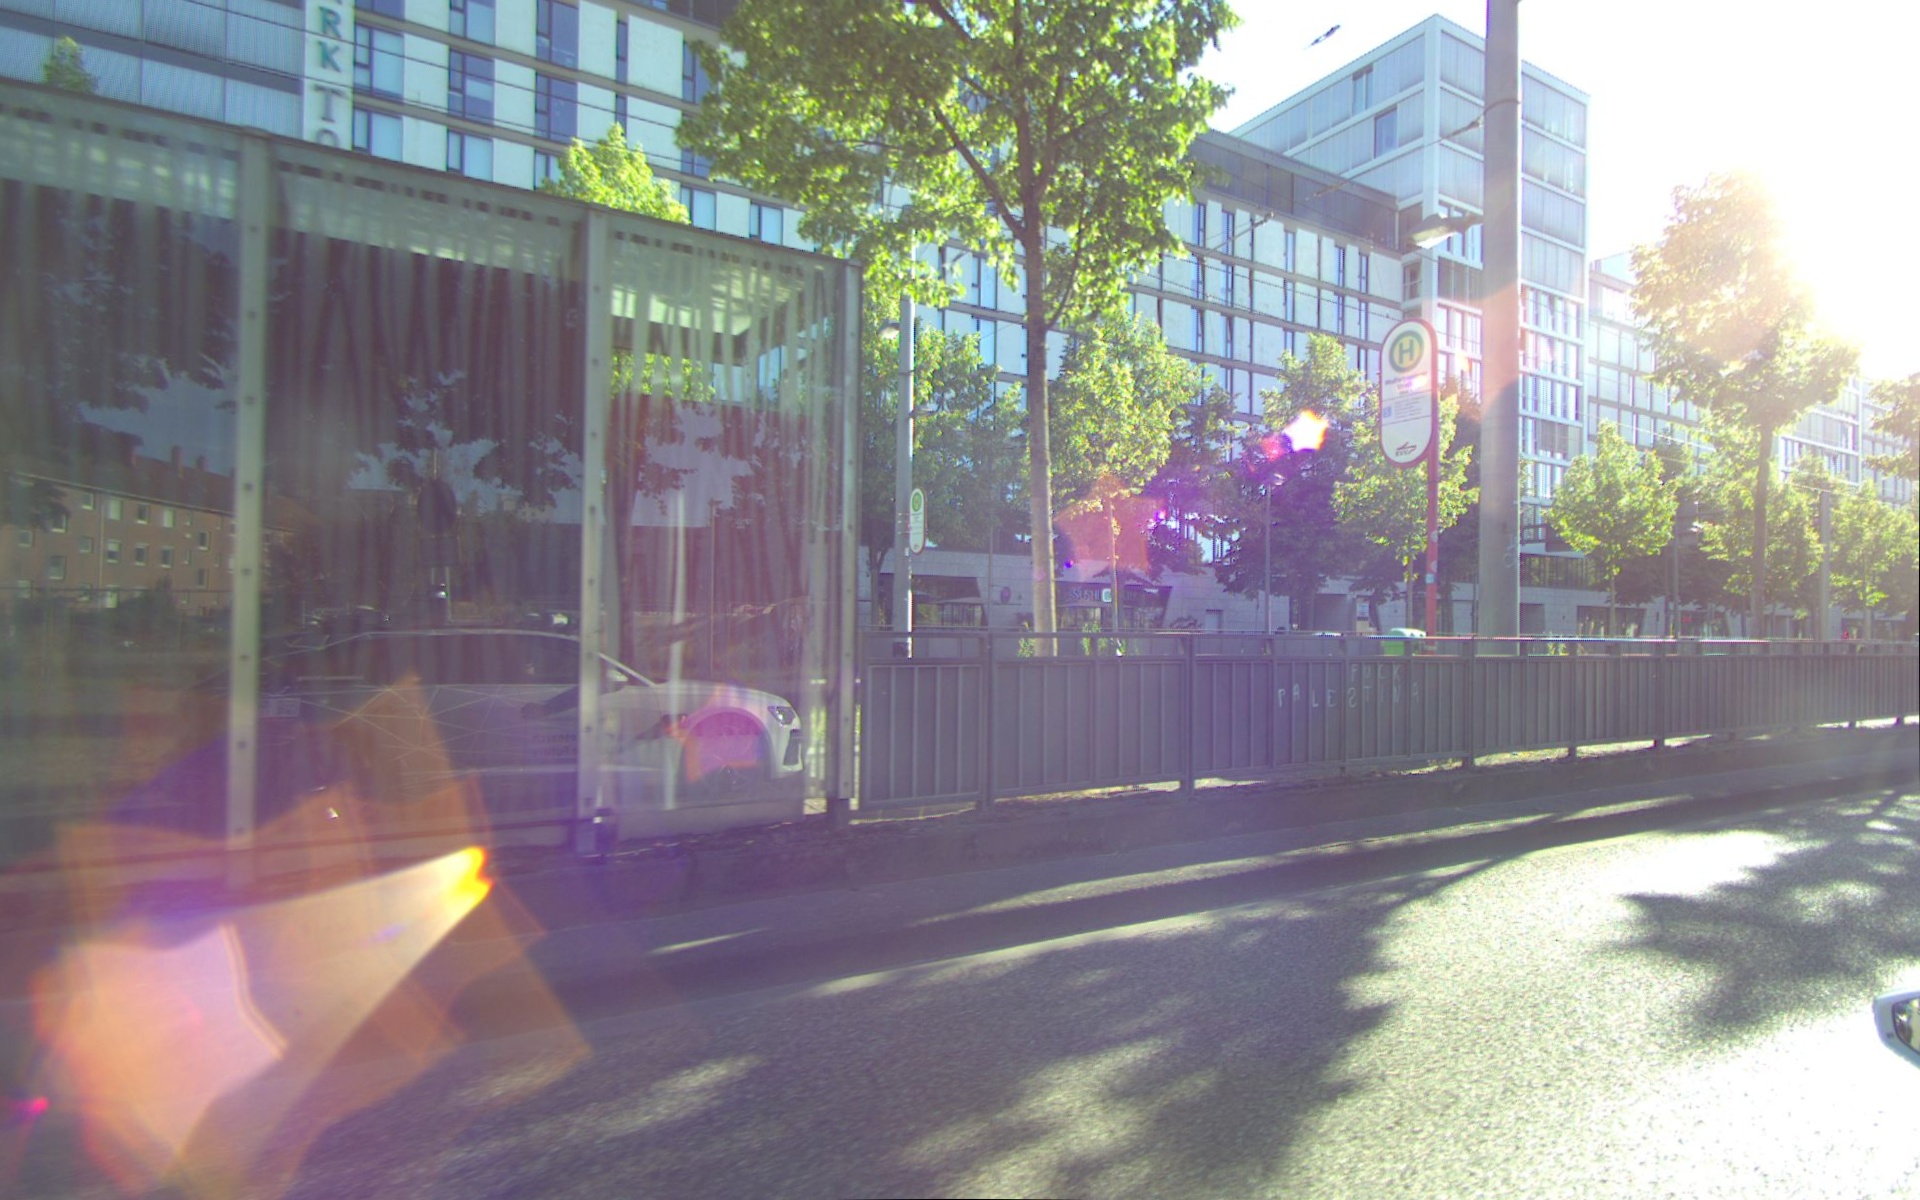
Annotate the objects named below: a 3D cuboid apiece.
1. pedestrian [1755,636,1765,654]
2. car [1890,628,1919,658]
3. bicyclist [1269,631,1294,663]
[{"bbox_3d":[66.049,3.698,82.892,0.682,1.431,0.405,3,-2,-31],"label":"pedestrian"},{"bbox_3d":[59.155,2.671,61.607,4.179,1.773,1.984,2,-3,-31],"label":"car"},{"bbox_3d":[15.125,2.199,47.232,0.821,1.483,0.717,1,-1,-28],"label":"bicyclist"}]
